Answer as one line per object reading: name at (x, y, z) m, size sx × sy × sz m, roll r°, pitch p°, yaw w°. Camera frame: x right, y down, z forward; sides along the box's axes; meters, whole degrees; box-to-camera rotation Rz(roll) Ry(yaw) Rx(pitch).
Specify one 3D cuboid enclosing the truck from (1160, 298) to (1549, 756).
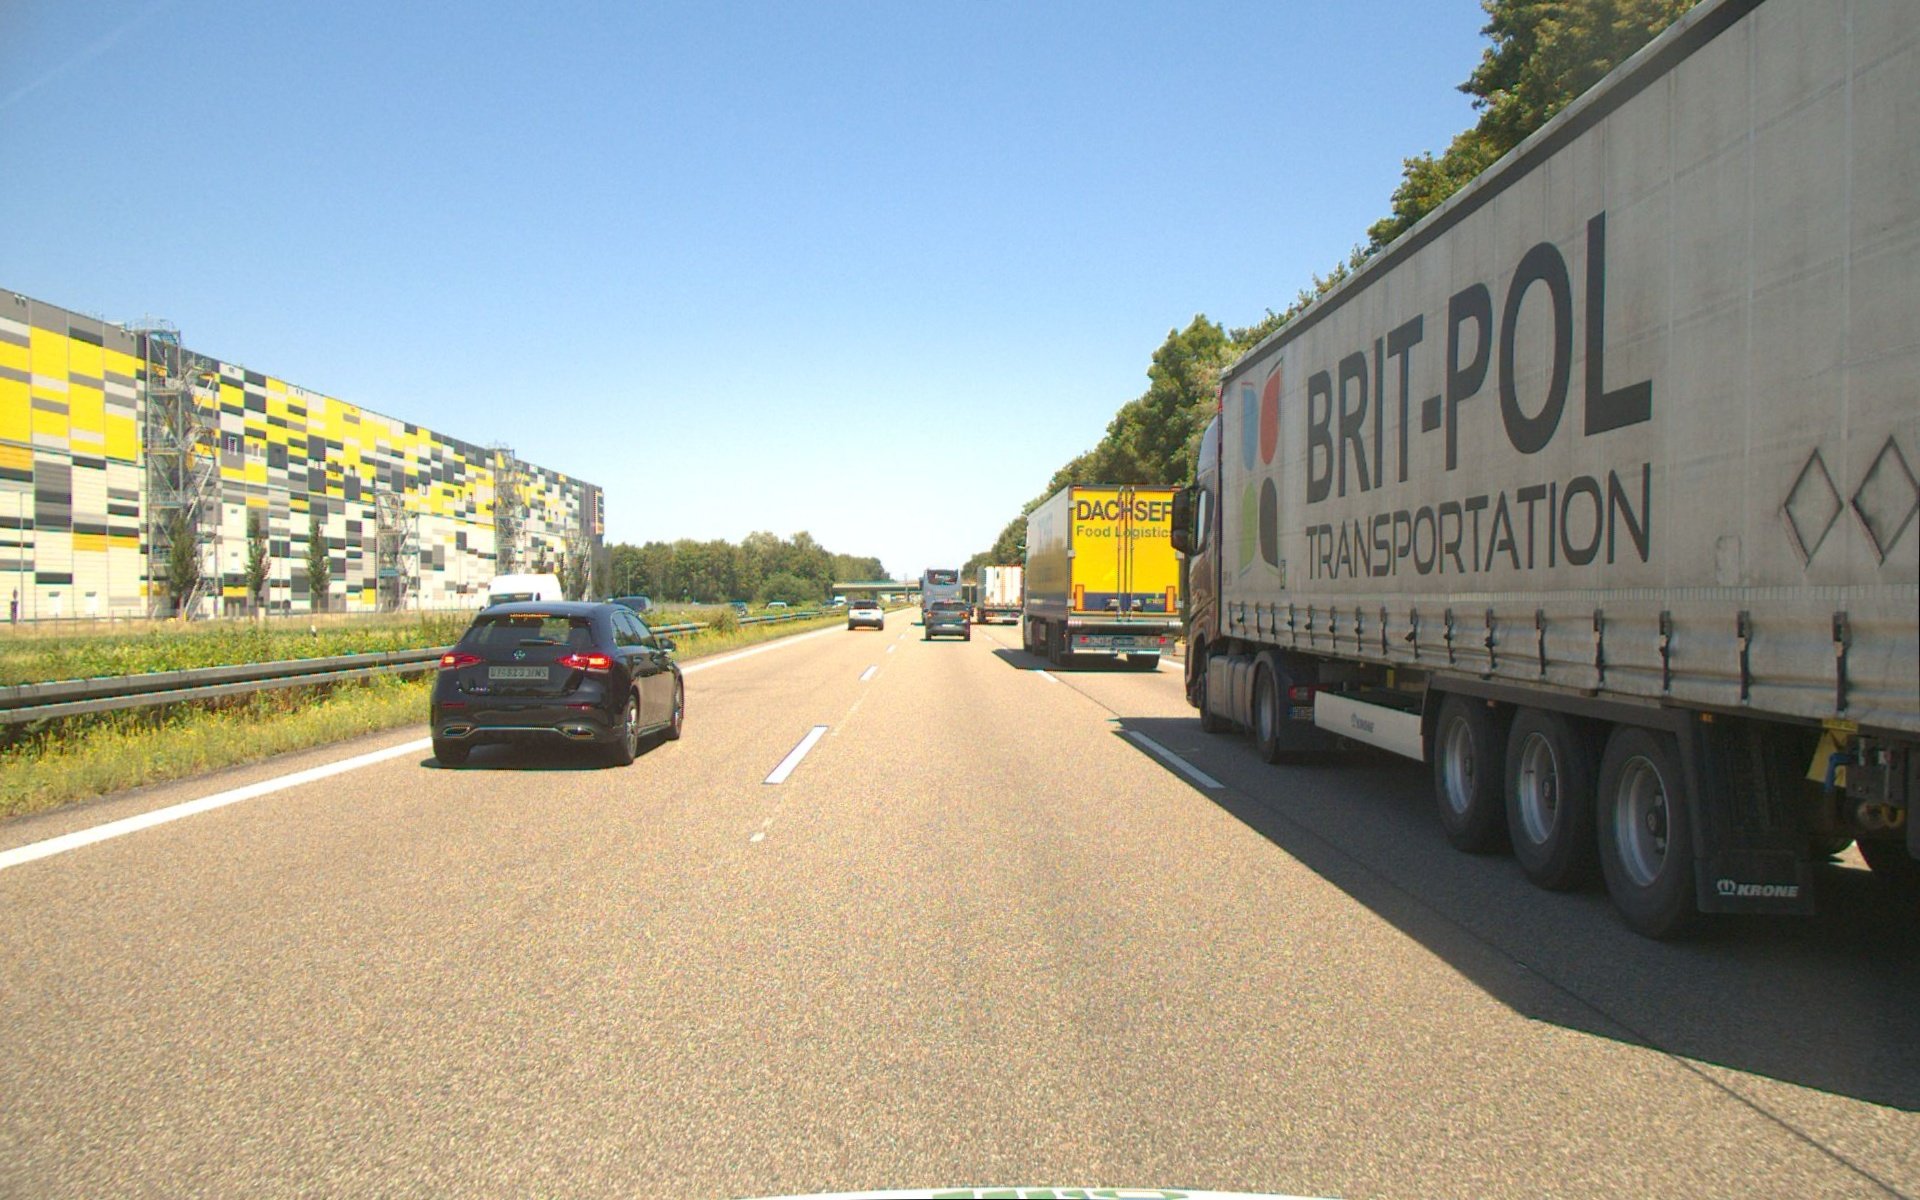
truck at (4.307, -0.704, 19.511) m, size 3.024 × 4.518 × 6.051 m, roll 1°, pitch 0°, yaw -1°

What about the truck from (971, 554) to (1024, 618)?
truck at (2.523, -0.931, 114.081) m, size 3.353 × 4.198 × 9.563 m, roll -1°, pitch 0°, yaw 0°

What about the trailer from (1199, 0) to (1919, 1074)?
trailer at (4.431, -0.777, 11.775) m, size 3.043 × 4.585 × 14.892 m, roll 1°, pitch 0°, yaw -1°

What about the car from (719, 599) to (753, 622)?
car at (-19.113, 0.901, 141.318) m, size 2.269 × 1.847 × 5.350 m, roll -1°, pitch 0°, yaw -1°

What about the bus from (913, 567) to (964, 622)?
bus at (-1.463, -0.362, 107.839) m, size 3.001 × 3.385 × 8.270 m, roll -1°, pitch 0°, yaw -2°

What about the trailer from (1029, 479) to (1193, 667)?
trailer at (3.472, -0.591, 41.219) m, size 2.777 × 4.023 × 11.680 m, roll 0°, pitch 0°, yaw -1°

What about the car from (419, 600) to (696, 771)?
car at (-3.724, 0.720, 16.007) m, size 1.755 × 1.436 × 4.051 m, roll 0°, pitch 0°, yaw -1°

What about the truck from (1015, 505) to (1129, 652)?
truck at (3.221, -0.597, 49.120) m, size 2.756 × 4.076 × 6.642 m, roll 0°, pitch 0°, yaw -2°

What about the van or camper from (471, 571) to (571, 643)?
van or camper at (-17.124, 0.277, 64.849) m, size 2.373 × 2.578 × 6.174 m, roll -2°, pitch 0°, yaw -2°

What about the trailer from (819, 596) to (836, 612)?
trailer at (-16.083, 0.486, 200.812) m, size 1.905 × 1.821 × 5.235 m, roll -1°, pitch 0°, yaw -2°

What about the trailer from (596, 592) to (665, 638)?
trailer at (-13.549, 0.578, 68.235) m, size 1.953 × 1.789 × 4.855 m, roll -1°, pitch 0°, yaw -2°

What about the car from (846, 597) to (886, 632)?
car at (-4.816, 0.742, 85.324) m, size 1.953 × 1.758 × 4.129 m, roll 0°, pitch 0°, yaw -2°

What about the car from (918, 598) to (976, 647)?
car at (-0.534, 0.837, 65.065) m, size 2.171 × 1.821 × 5.392 m, roll -1°, pitch 0°, yaw -1°
